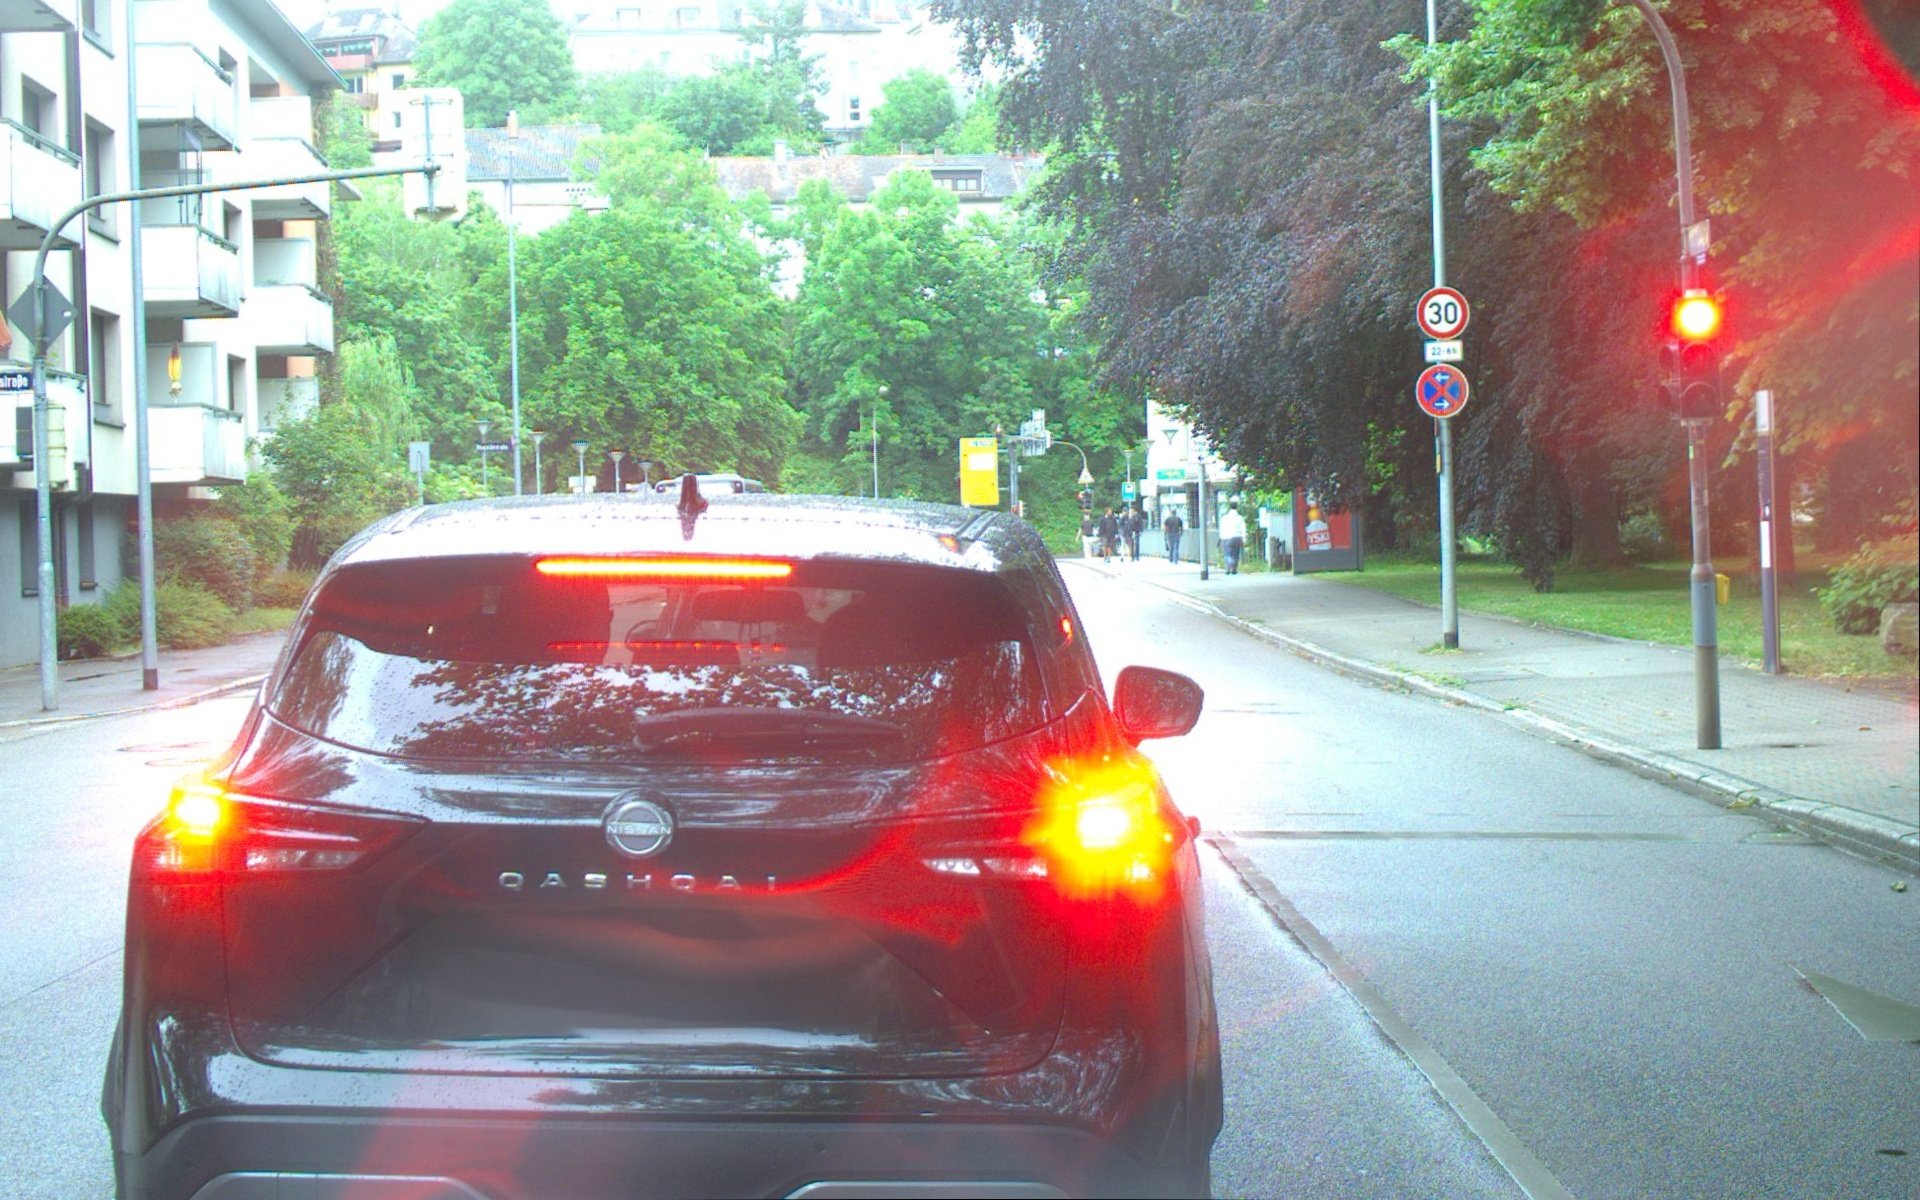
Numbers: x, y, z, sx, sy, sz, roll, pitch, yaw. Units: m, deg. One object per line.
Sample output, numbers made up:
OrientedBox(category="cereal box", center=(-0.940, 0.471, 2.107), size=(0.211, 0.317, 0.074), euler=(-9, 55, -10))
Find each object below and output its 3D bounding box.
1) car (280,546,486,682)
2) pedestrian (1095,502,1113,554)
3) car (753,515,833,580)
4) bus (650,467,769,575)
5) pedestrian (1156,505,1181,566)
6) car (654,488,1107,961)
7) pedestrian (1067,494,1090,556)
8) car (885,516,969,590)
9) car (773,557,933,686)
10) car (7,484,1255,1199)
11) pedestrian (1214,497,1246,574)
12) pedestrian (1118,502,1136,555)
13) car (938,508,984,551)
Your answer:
OrientedBox(category="car", center=(-6.814, 0.125, 40.952), size=(1.808, 1.412, 4.031), euler=(-3, 1, -2))
OrientedBox(category="pedestrian", center=(4.626, -2.307, 110.224), size=(0.544, 1.645, 0.490), euler=(1, 0, 0))
OrientedBox(category="car", center=(-3.841, -1.228, 79.559), size=(1.624, 1.410, 3.455), euler=(-2, 1, 0))
OrientedBox(category="bus", center=(-7.377, -2.320, 102.646), size=(2.766, 2.964, 11.782), euler=(-2, 1, -1))
OrientedBox(category="pedestrian", center=(6.161, -1.913, 101.620), size=(0.618, 1.773, 0.551), euler=(-2, 1, -1))
OrientedBox(category="car", center=(-0.262, 0.425, 14.693), size=(1.622, 1.703, 3.771), euler=(-2, 1, 1))
OrientedBox(category="pedestrian", center=(4.189, -2.652, 121.186), size=(0.768, 2.176, 0.711), euler=(1, 0, 3))
OrientedBox(category="car", center=(-0.652, -0.980, 70.054), size=(1.624, 1.410, 3.455), euler=(-2, 1, 0))
OrientedBox(category="car", center=(-1.273, 0.218, 41.072), size=(1.808, 1.412, 4.031), euler=(0, 1, -2))
OrientedBox(category="car", center=(-0.506, 0.615, 7.018), size=(1.806, 1.584, 4.000), euler=(1, 1, -1))
OrientedBox(category="pedestrian", center=(6.390, -1.529, 81.318), size=(0.618, 1.773, 0.778), euler=(-2, 1, -1))
OrientedBox(category="pedestrian", center=(5.297, -2.263, 109.090), size=(0.514, 1.650, 0.550), euler=(1, 0, -1))
OrientedBox(category="car", center=(0.035, -2.813, 136.408), size=(1.750, 1.628, 3.635), euler=(-2, 1, 0))
